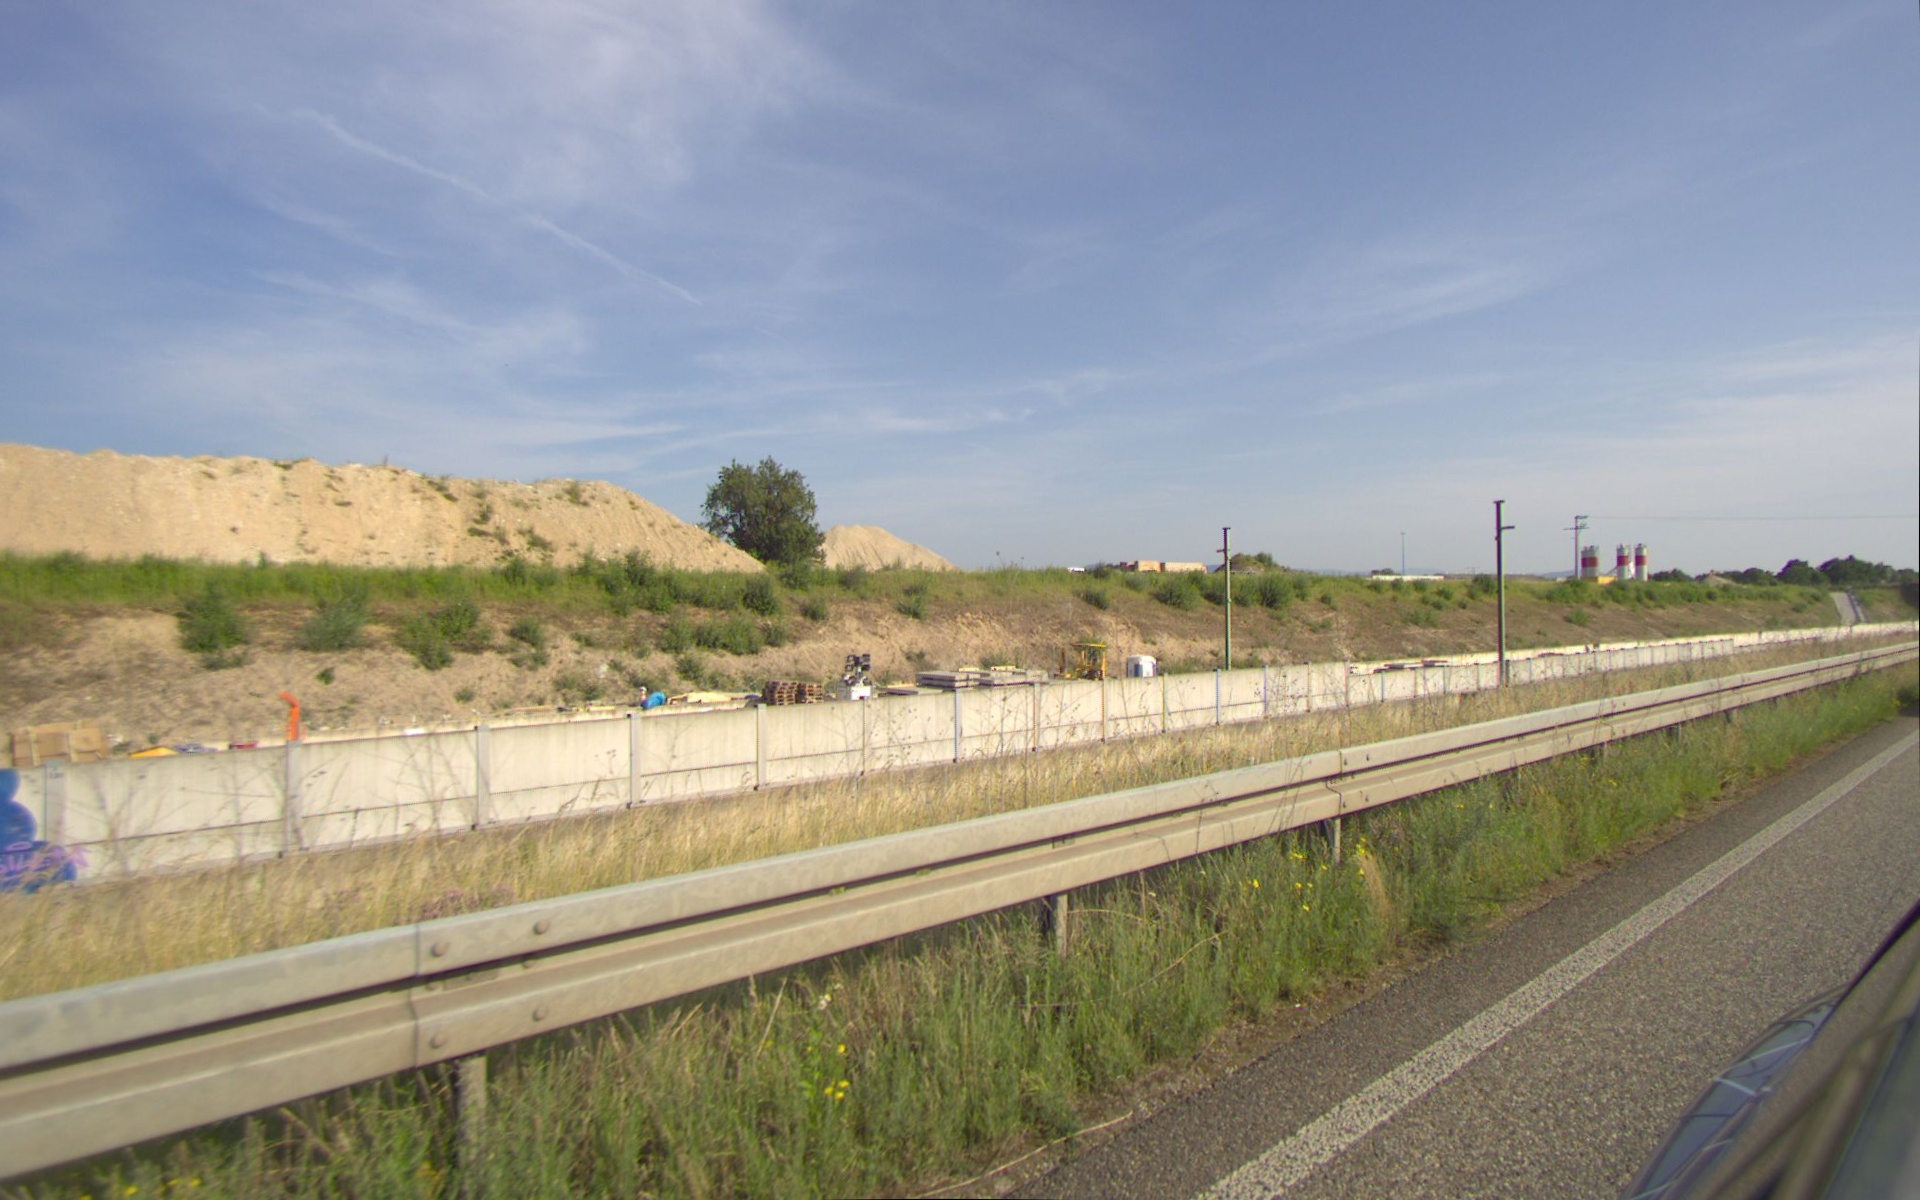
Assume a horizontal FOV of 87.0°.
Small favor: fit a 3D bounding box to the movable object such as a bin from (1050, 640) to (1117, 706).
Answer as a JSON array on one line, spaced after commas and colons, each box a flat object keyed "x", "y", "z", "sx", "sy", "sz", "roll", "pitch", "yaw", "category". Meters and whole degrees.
[{"x": 5.408, "y": 3.170, "z": 44.614, "sx": 1.977, "sy": 2.695, "sz": 2.919, "roll": 0, "pitch": 0, "yaw": -15, "category": "movable object such as a bin"}]
